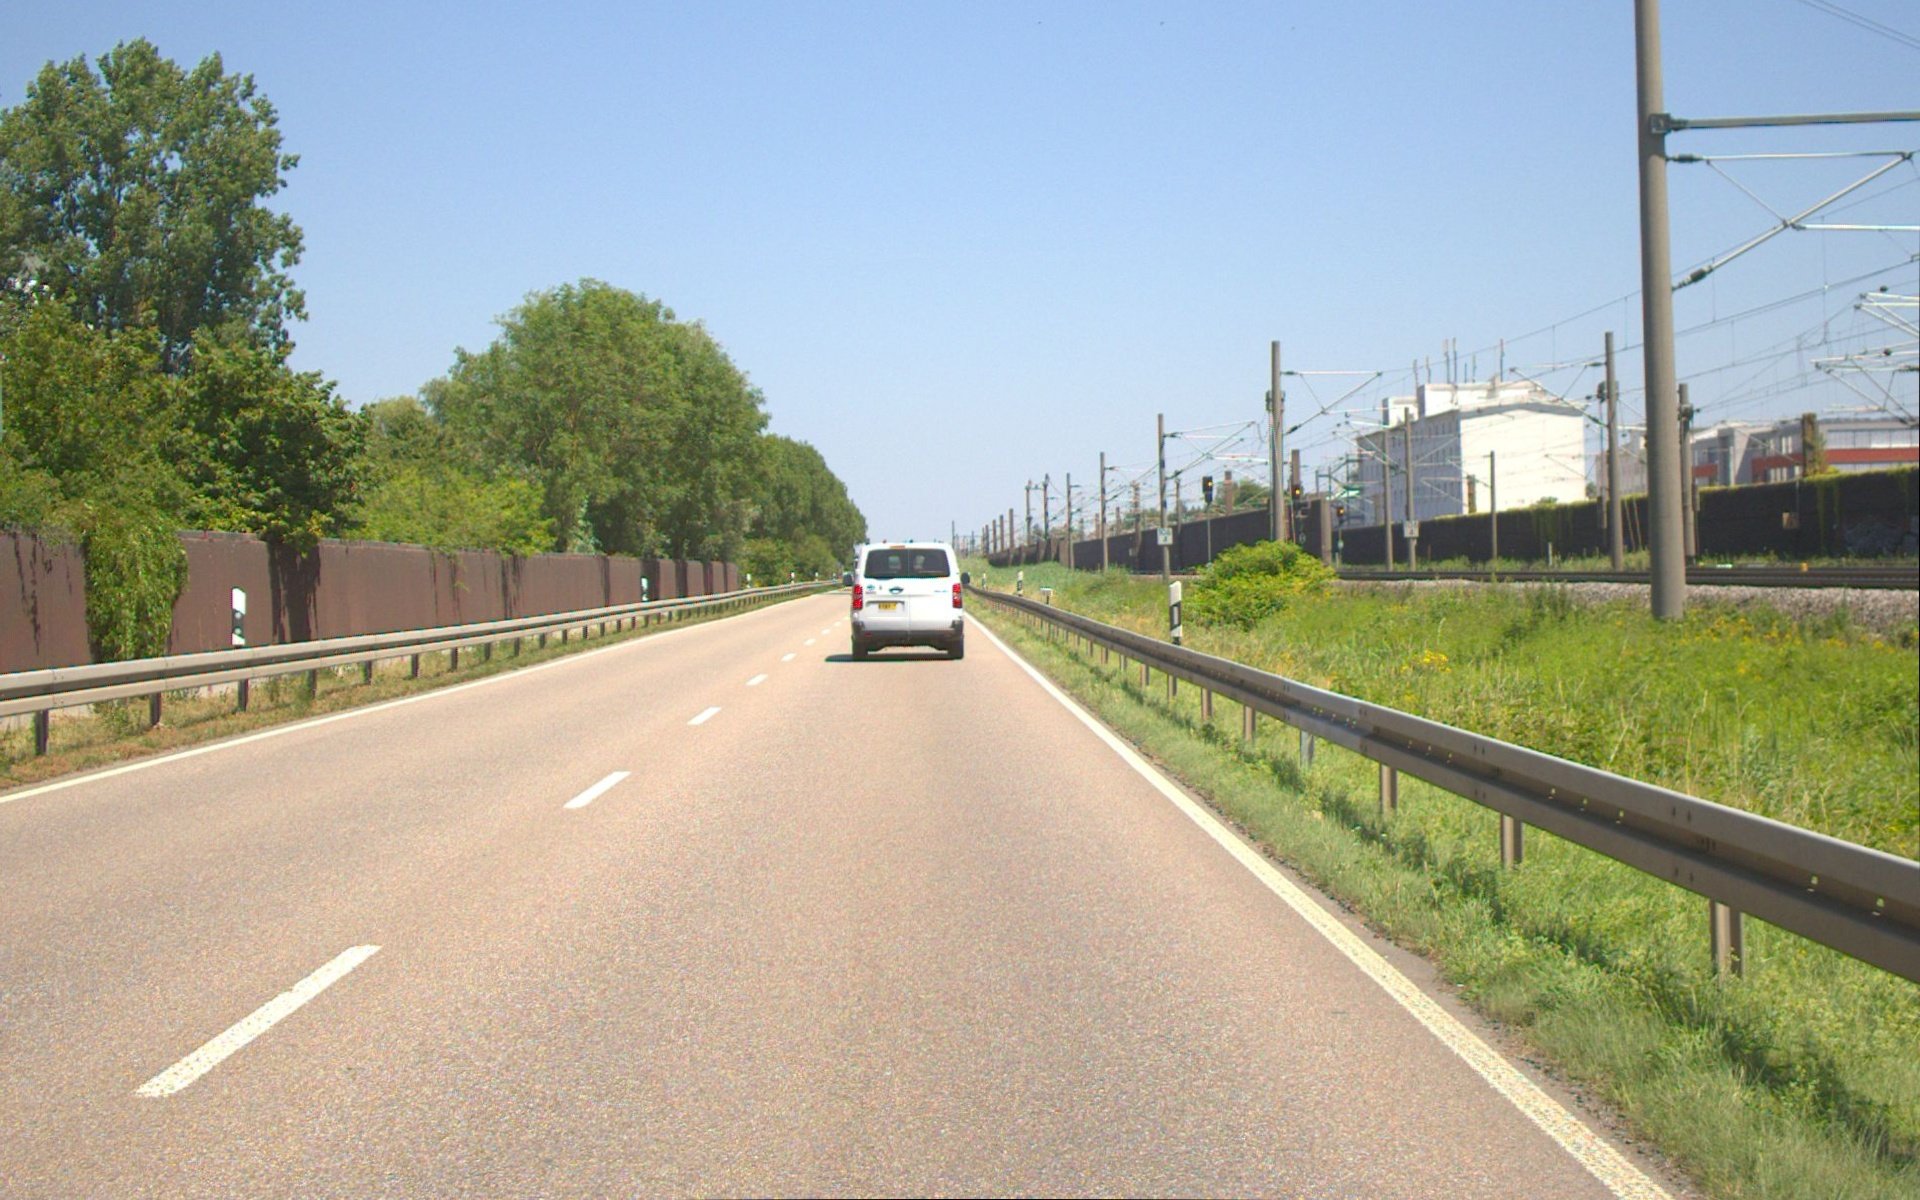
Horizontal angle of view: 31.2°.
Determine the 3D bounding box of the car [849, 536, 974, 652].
[{"bbox_3d":[-0.802,-0.110,57.389,1.993,1.844,4.000,1,1,-1],"label":"car"}]
